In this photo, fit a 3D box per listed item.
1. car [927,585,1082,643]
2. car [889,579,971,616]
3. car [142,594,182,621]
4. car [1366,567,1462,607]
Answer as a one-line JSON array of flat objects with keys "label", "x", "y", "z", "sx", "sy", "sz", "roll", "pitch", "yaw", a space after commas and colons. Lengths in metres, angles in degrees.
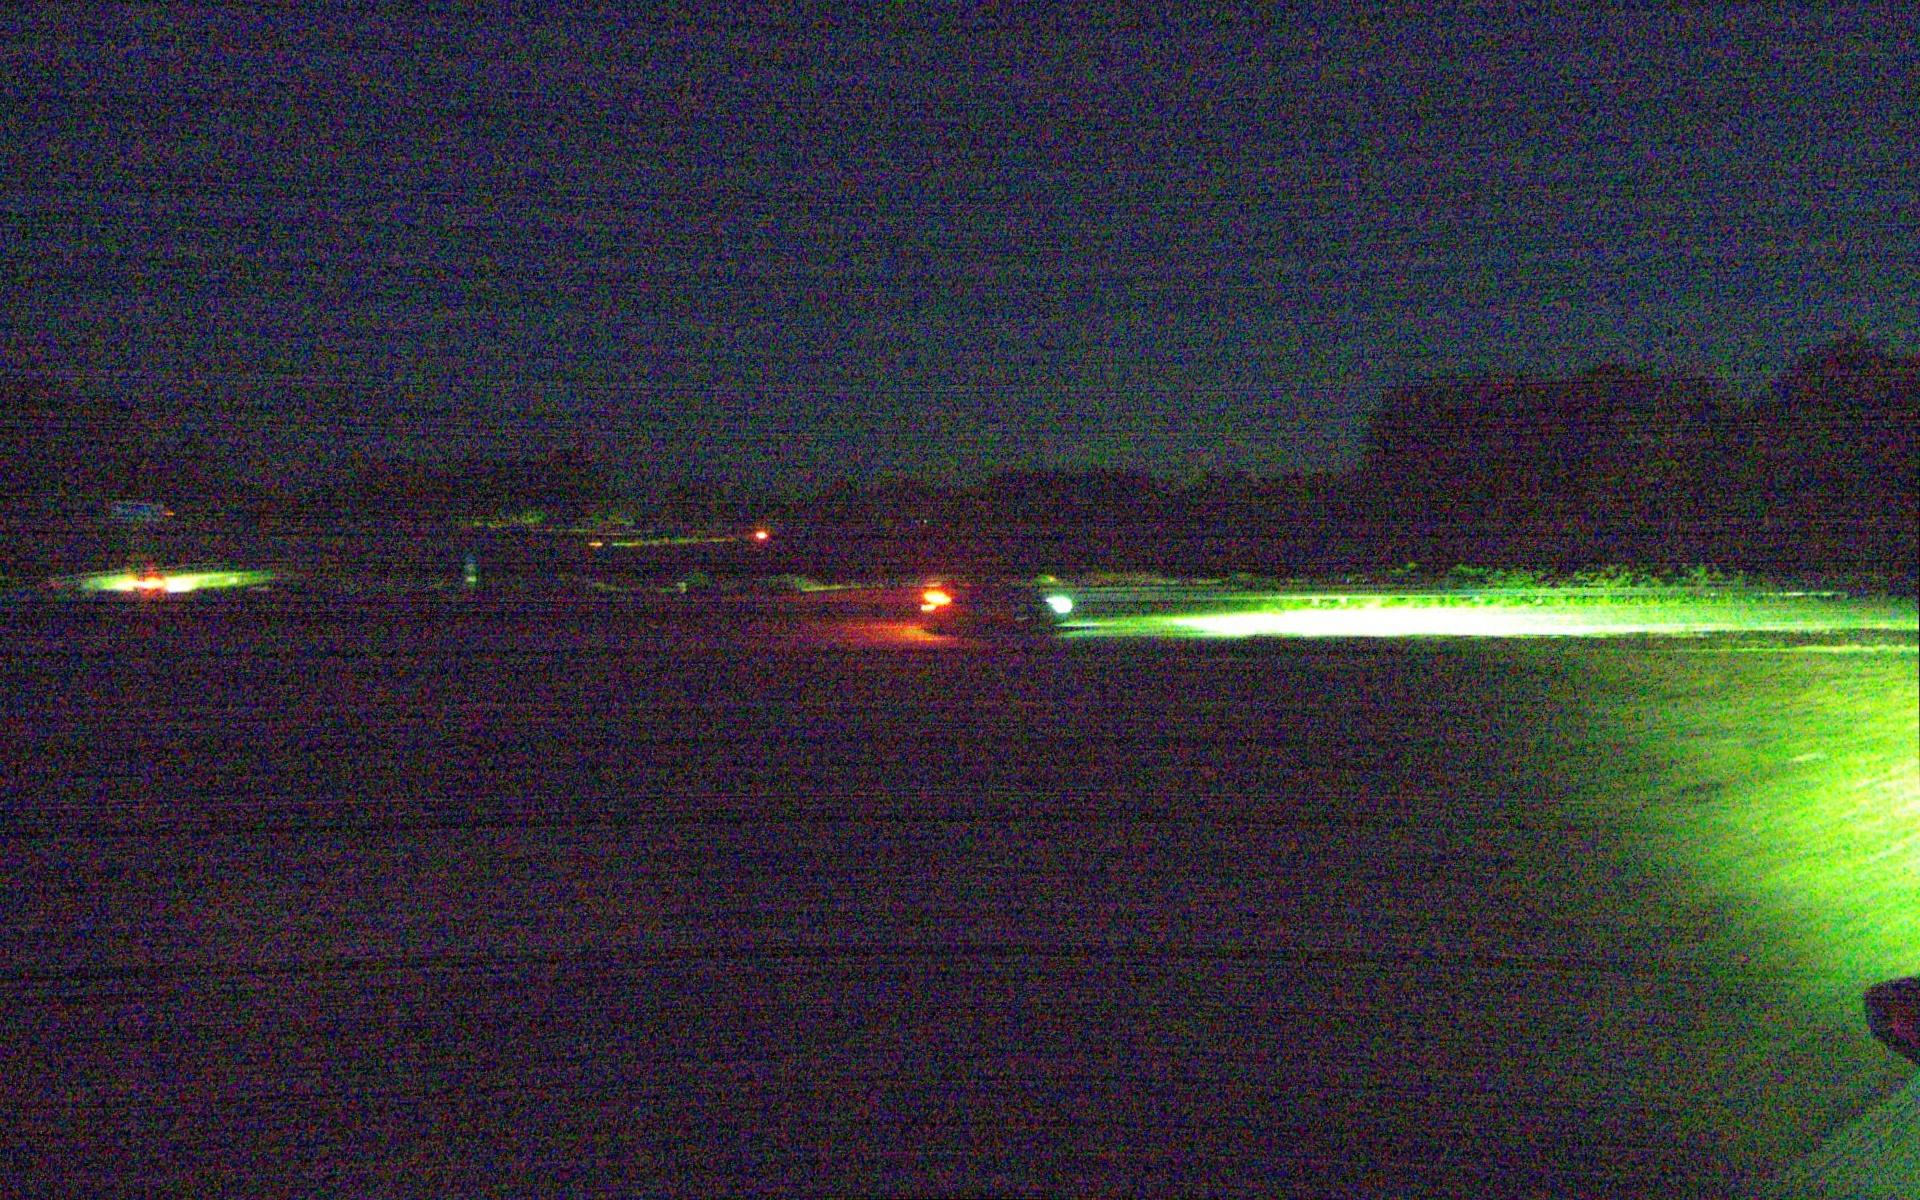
[{"label": "car", "x": 1.352, "y": 0.410, "z": 31.330, "sx": 4.558, "sy": 1.630, "sz": 1.943, "roll": 0, "pitch": 3, "yaw": -9}, {"label": "car", "x": -1.513, "y": -0.146, "z": 50.038, "sx": 3.927, "sy": 1.781, "sz": 1.786, "roll": 0, "pitch": 0, "yaw": -9}, {"label": "car", "x": -56.951, "y": 0.535, "z": 71.667, "sx": 1.863, "sy": 1.808, "sz": 3.950, "roll": 4, "pitch": -3, "yaw": -43}, {"label": "car", "x": 22.093, "y": -0.622, "z": 48.929, "sx": 3.927, "sy": 1.912, "sz": 1.813, "roll": 0, "pitch": 1, "yaw": -9}]
